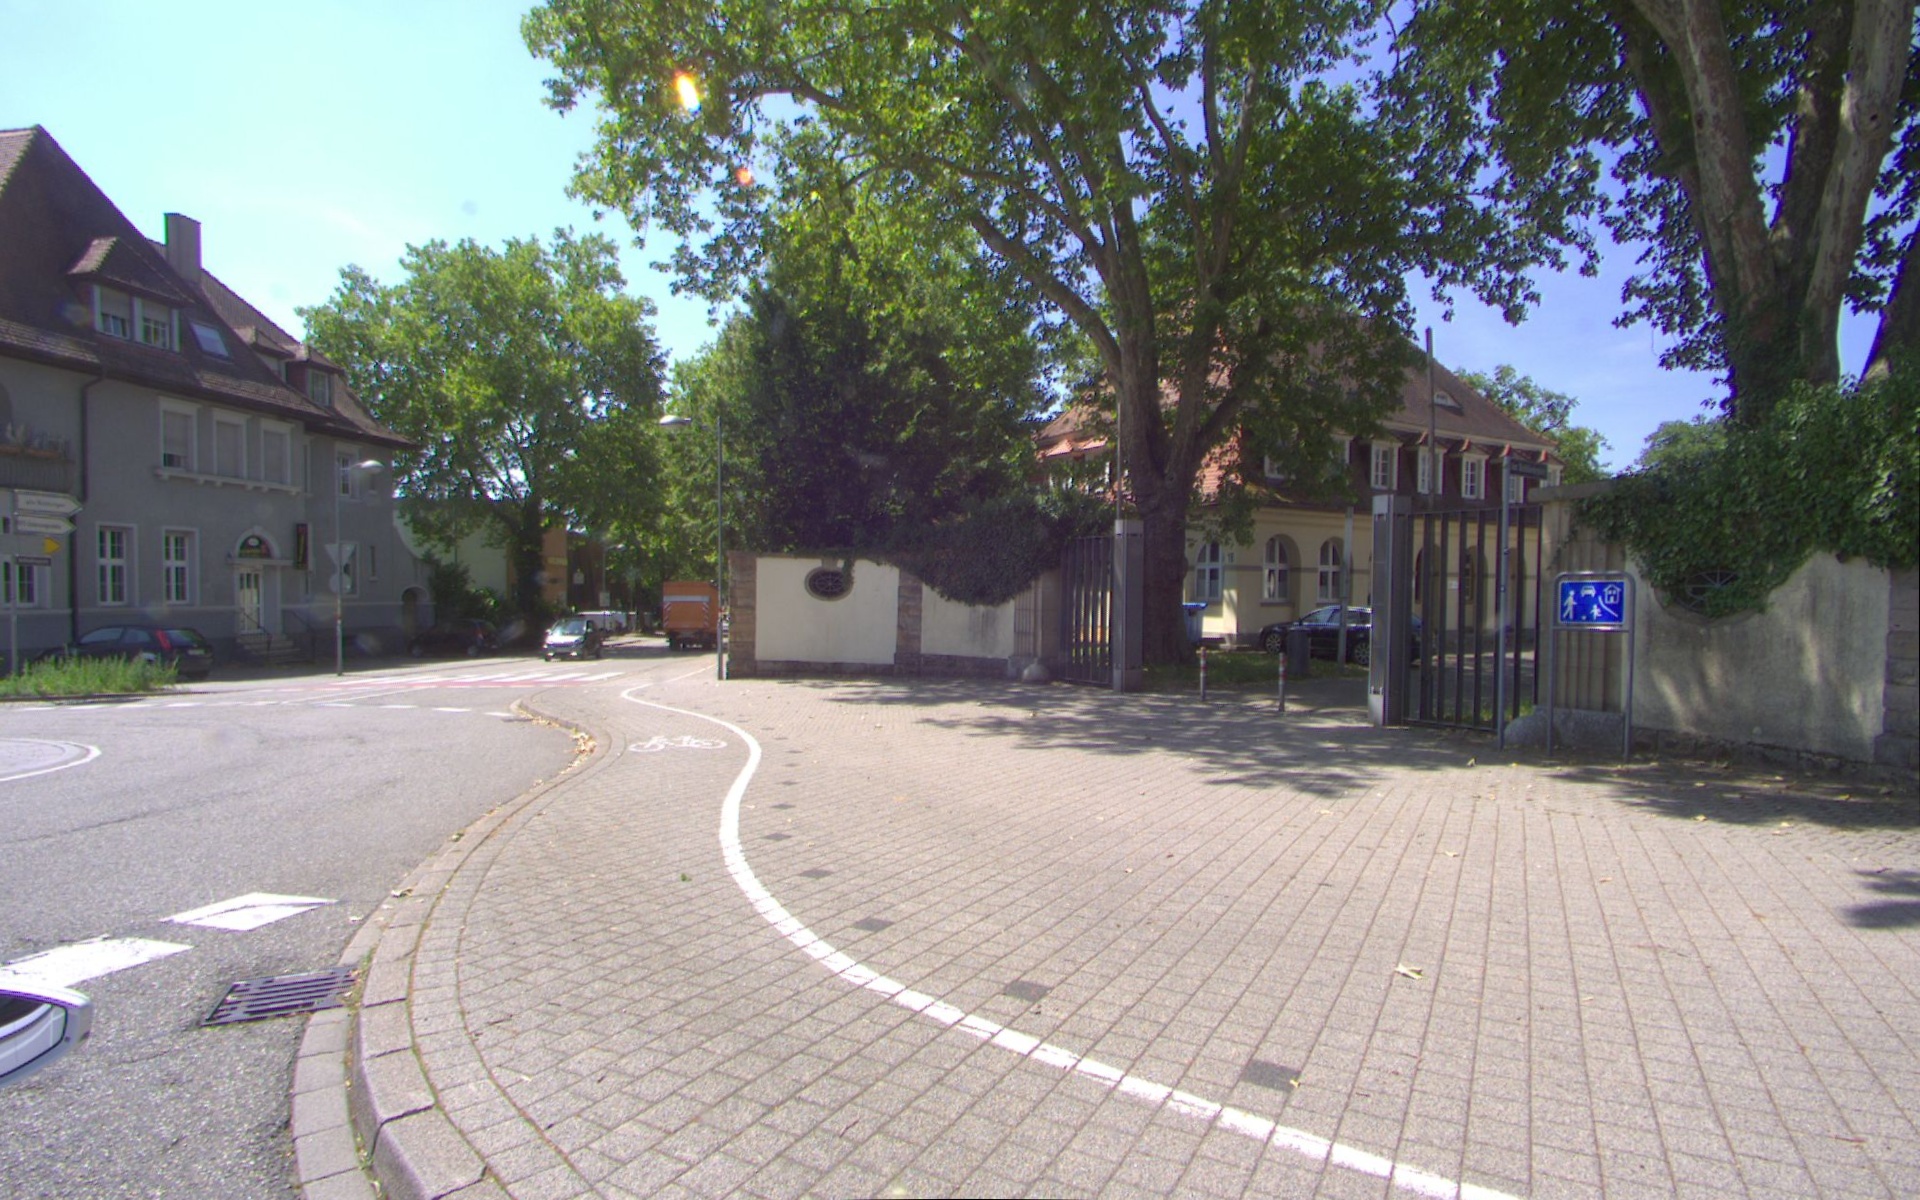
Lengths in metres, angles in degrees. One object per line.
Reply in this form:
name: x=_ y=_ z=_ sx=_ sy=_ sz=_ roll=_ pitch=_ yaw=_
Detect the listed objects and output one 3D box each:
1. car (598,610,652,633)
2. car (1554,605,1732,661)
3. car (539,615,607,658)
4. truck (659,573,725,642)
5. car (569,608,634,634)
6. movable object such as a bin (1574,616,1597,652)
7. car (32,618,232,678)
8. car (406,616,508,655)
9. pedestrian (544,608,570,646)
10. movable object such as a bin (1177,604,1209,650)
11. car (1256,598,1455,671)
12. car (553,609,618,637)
car: x=-28.336 y=1.816 z=84.841 sx=4.065 sy=1.827 sz=1.902 roll=2 pitch=-1 yaw=-10
car: x=22.818 y=1.034 z=33.653 sx=1.972 sy=1.423 sz=4.472 roll=0 pitch=4 yaw=-31
car: x=-14.438 y=1.347 z=37.439 sx=1.539 sy=1.550 sz=2.789 roll=0 pitch=-1 yaw=-2
truck: x=-12.863 y=0.447 z=48.449 sx=2.333 sy=3.173 sz=5.769 roll=0 pitch=-2 yaw=-7
car: x=-27.460 y=1.647 z=76.795 sx=4.355 sy=1.827 sz=1.902 roll=2 pitch=-1 yaw=-11
movable object such as a bin: x=18.368 y=0.995 z=29.391 sx=0.530 sy=1.021 sz=0.525 roll=0 pitch=0 yaw=28
car: x=-20.987 y=1.197 z=25.464 sx=3.719 sy=1.479 sz=1.724 roll=0 pitch=-1 yaw=3
car: x=-20.682 y=1.464 z=41.268 sx=3.326 sy=1.567 sz=1.724 roll=0 pitch=-1 yaw=3
pedestrian: x=-19.091 y=1.259 z=47.419 sx=0.858 sy=1.765 sz=1.112 roll=0 pitch=0 yaw=-7
movable object such as a bin: x=6.759 y=0.780 z=29.046 sx=0.661 sy=1.314 sz=0.672 roll=0 pitch=0 yaw=-41
car: x=10.116 y=0.820 z=25.983 sx=1.972 sy=1.423 sz=4.472 roll=0 pitch=4 yaw=-31
car: x=-26.064 y=1.576 z=69.877 sx=3.925 sy=1.816 sz=1.867 roll=2 pitch=-1 yaw=-10
